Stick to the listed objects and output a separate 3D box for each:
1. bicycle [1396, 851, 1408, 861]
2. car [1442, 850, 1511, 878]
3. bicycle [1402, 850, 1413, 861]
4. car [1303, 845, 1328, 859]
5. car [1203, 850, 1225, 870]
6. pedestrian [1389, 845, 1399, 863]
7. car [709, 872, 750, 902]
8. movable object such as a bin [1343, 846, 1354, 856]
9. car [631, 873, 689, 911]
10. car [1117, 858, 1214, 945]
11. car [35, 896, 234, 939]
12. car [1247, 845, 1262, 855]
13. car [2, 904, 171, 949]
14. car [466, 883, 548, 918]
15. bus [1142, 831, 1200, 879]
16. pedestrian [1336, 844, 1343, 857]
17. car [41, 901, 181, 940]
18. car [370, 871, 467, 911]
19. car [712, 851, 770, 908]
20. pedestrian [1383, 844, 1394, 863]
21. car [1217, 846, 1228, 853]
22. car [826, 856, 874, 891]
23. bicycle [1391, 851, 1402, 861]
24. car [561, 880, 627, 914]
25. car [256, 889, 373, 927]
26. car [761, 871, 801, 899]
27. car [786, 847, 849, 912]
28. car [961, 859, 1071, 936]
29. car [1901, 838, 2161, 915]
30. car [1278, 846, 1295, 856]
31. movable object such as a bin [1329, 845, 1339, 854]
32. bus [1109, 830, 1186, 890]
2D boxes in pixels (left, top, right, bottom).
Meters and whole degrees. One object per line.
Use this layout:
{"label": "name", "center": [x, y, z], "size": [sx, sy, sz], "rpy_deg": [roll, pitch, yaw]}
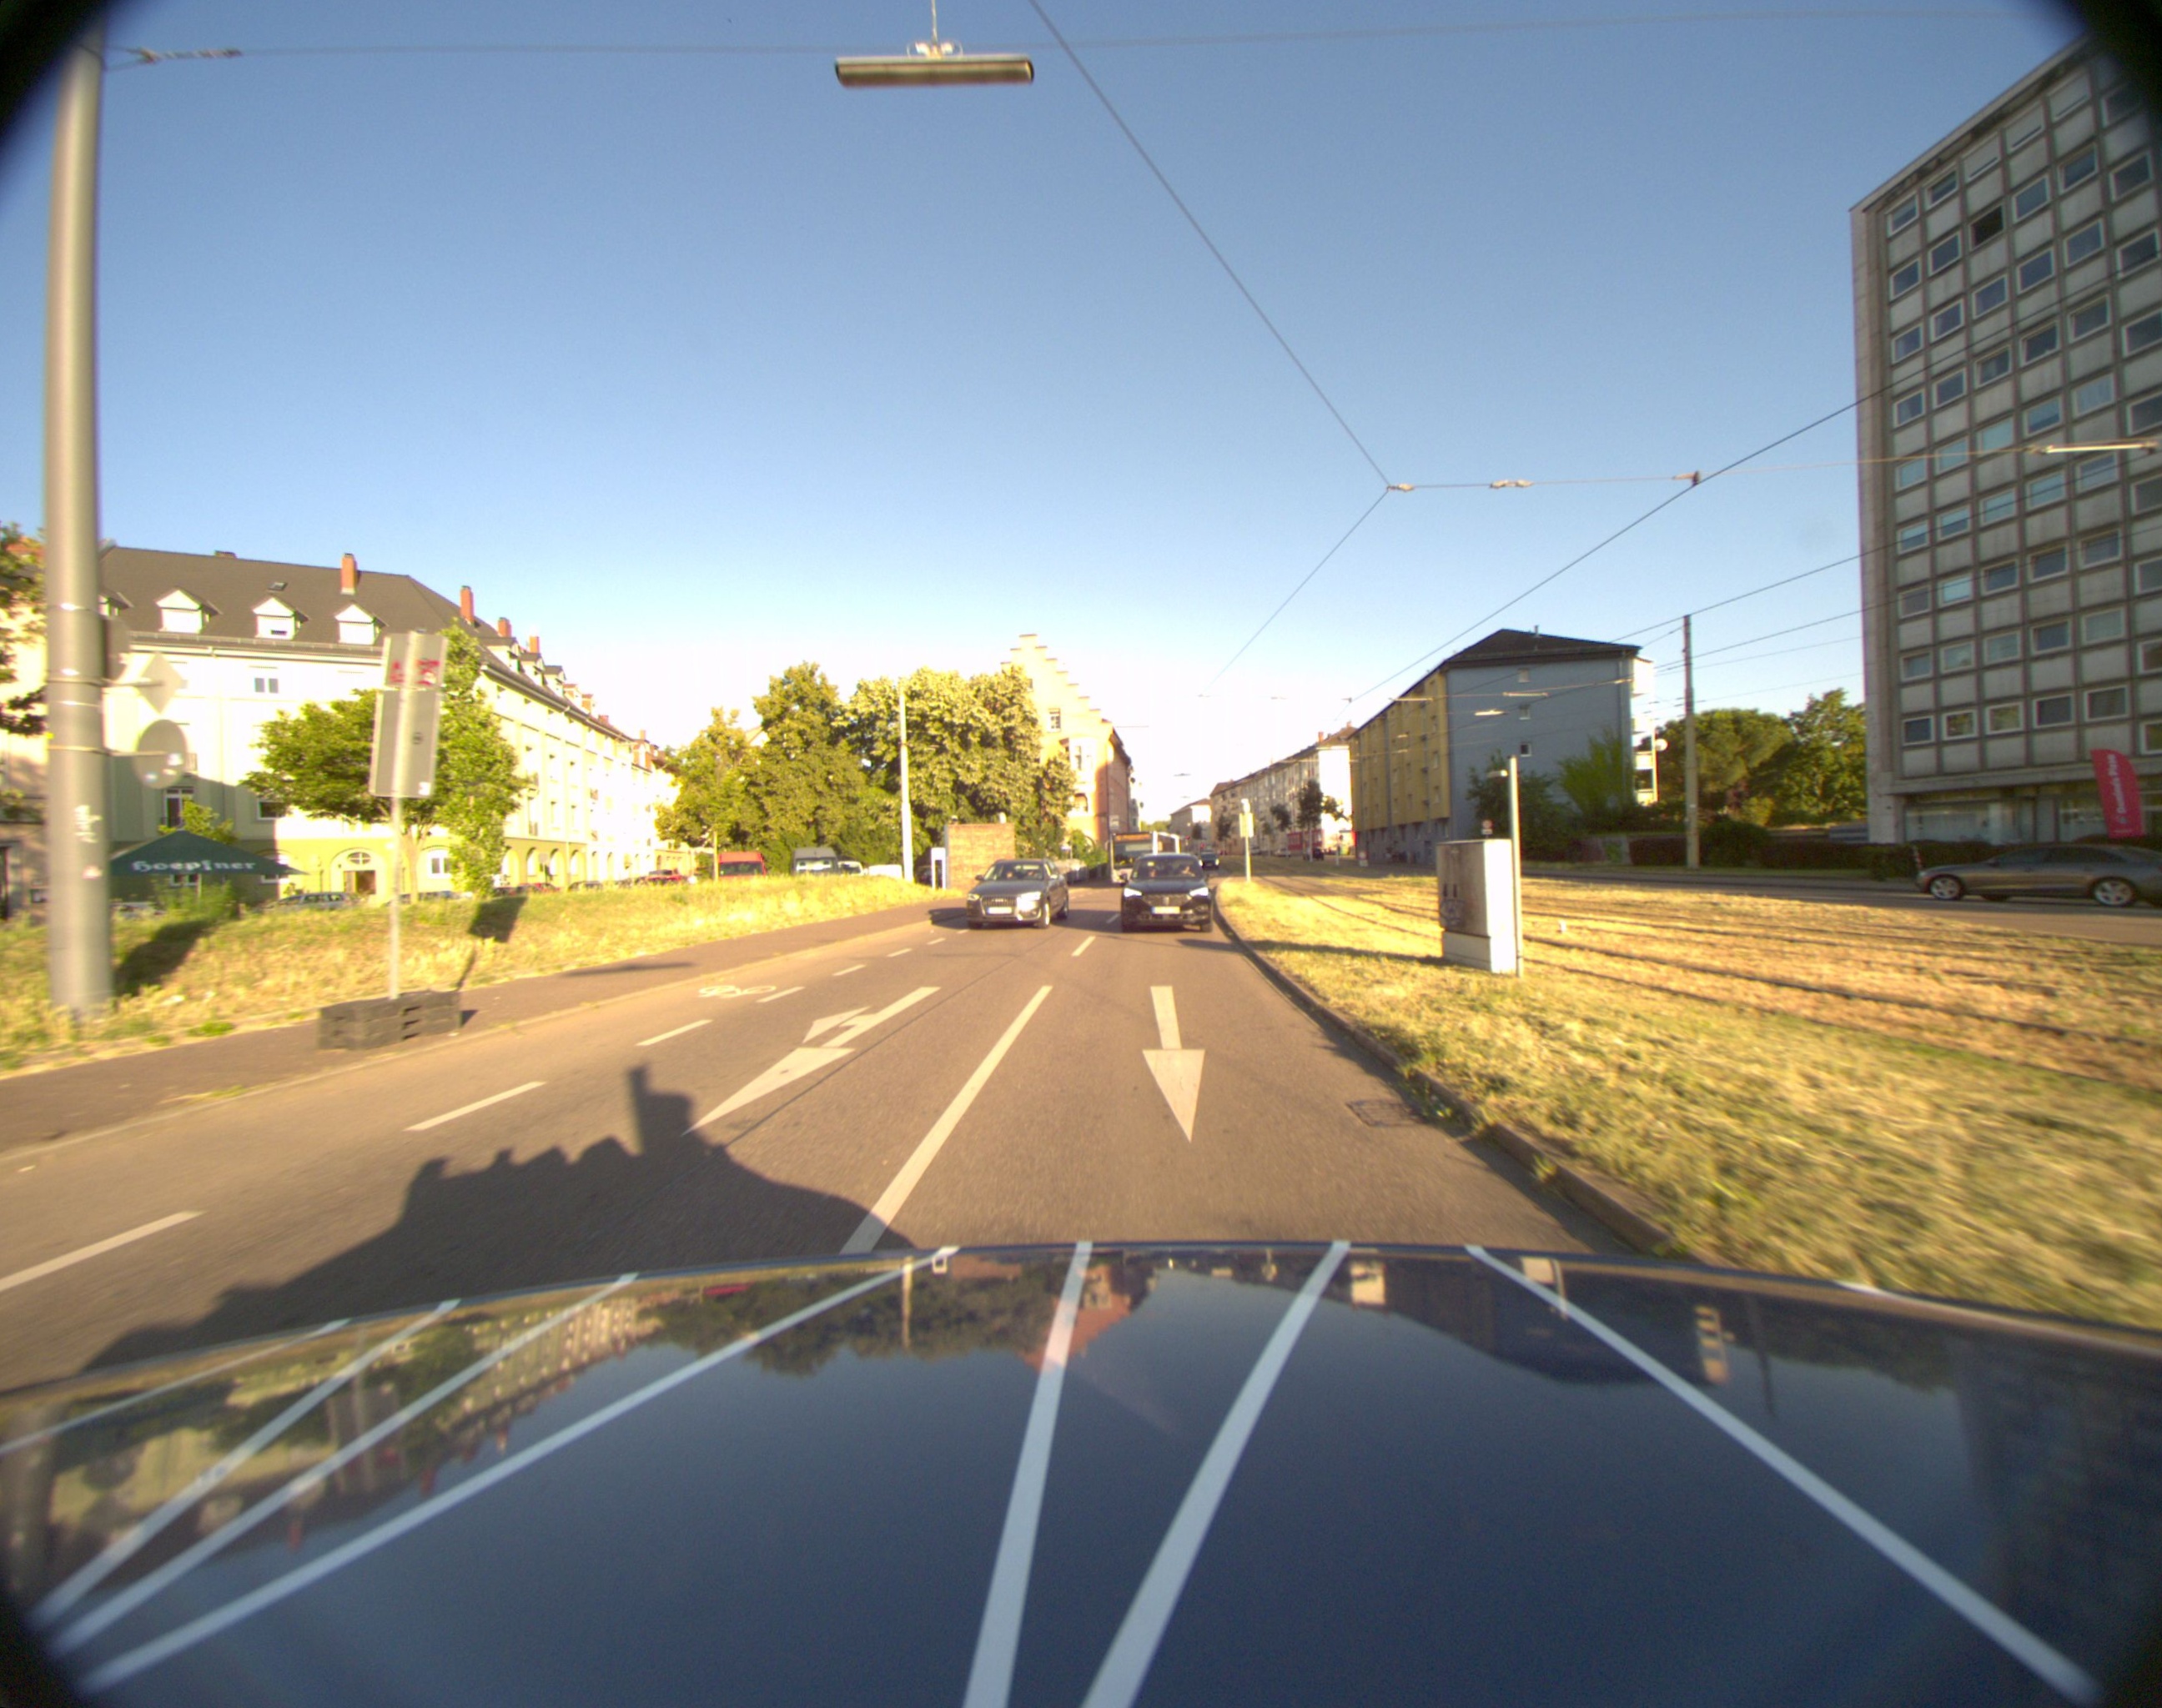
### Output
{"label": "bicycle", "center": [30.435, 0.198, 72.049], "size": [0.428, 0.920, 1.913], "rpy_deg": [-5, 0, 8]}
{"label": "car", "center": [22.335, 0.543, 43.114], "size": [1.780, 1.473, 4.400], "rpy_deg": [-1, 0, 2]}
{"label": "bicycle", "center": [30.127, 0.163, 70.134], "size": [0.428, 0.954, 1.913], "rpy_deg": [-2, 1, 8]}
{"label": "car", "center": [28.727, -0.269, 93.239], "size": [1.922, 1.652, 4.711], "rpy_deg": [-1, 0, 6]}
{"label": "car", "center": [12.685, 0.558, 72.749], "size": [1.997, 1.761, 4.003], "rpy_deg": [-1, 0, 9]}
{"label": "pedestrian", "center": [29.867, 0.009, 72.509], "size": [0.617, 1.684, 0.706], "rpy_deg": [-6, 0, 7]}
{"label": "car", "center": [-20.190, 1.854, 43.563], "size": [1.929, 1.531, 3.899], "rpy_deg": [-2, 0, -27]}
{"label": "movable object such as a bin", "center": [38.795, -0.432, 110.352], "size": [1.219, 1.407, 1.108], "rpy_deg": [-2, 1, 3]}
{"label": "car", "center": [-17.442, 1.539, 31.619], "size": [1.781, 1.365, 3.882], "rpy_deg": [-2, 0, -25]}
{"label": "car", "center": [1.970, 0.929, 16.698], "size": [1.786, 1.615, 4.220], "rpy_deg": [-1, 0, 11]}
{"label": "car", "center": [-29.432, 1.960, 23.777], "size": [3.545, 1.039, 1.519], "rpy_deg": [-1, 0, -26]}
{"label": "car", "center": [34.075, -0.764, 149.239], "size": [1.871, 1.818, 4.421], "rpy_deg": [-1, 0, -1]}
{"label": "car", "center": [-38.421, 2.758, 29.476], "size": [3.640, 1.377, 1.554], "rpy_deg": [-2, 1, -22]}
{"label": "car", "center": [-21.745, 1.733, 28.908], "size": [1.708, 1.083, 3.699], "rpy_deg": [-2, 0, -25]}
{"label": "bus", "center": [6.677, -0.049, 54.815], "size": [2.709, 3.060, 10.609], "rpy_deg": [-1, 1, 14]}
{"label": "pedestrian", "center": [35.372, -0.493, 103.869], "size": [0.615, 1.679, 0.791], "rpy_deg": [-2, 0, 2]}
{"label": "car", "center": [-43.183, 2.931, 33.918], "size": [3.634, 1.411, 1.313], "rpy_deg": [-2, 1, -22]}
{"label": "car", "center": [-24.214, 1.312, 27.922], "size": [1.708, 1.251, 3.699], "rpy_deg": [-1, 0, -25]}
{"label": "car", "center": [-14.690, 1.041, 32.779], "size": [2.046, 2.201, 5.404], "rpy_deg": [-2, 0, -25]}
{"label": "pedestrian", "center": [29.098, -0.079, 71.878], "size": [0.594, 1.763, 0.886], "rpy_deg": [-6, 0, 7]}
{"label": "car", "center": [31.352, -1.060, 168.444], "size": [1.797, 1.460, 4.796], "rpy_deg": [0, 1, 4]}
{"label": "car", "center": [-14.078, 1.171, 46.115], "size": [1.929, 1.967, 4.739], "rpy_deg": [-2, 0, -27]}
{"label": "bicycle", "center": [30.465, 0.205, 73.329], "size": [0.428, 0.920, 1.913], "rpy_deg": [-5, 0, 8]}
{"label": "car", "center": [-19.537, 1.694, 30.602], "size": [1.708, 1.154, 3.699], "rpy_deg": [-2, 0, -25]}
{"label": "car", "center": [-37.173, 2.603, 36.967], "size": [3.647, 1.521, 1.529], "rpy_deg": [-2, 0, -22]}
{"label": "car", "center": [-17.582, 1.791, 44.465], "size": [1.753, 1.458, 4.216], "rpy_deg": [-3, 0, -27]}
{"label": "car", "center": [-12.135, 1.074, 34.652], "size": [2.046, 2.650, 6.203], "rpy_deg": [-2, 0, -25]}
{"label": "car", "center": [-1.415, 0.948, 18.193], "size": [1.770, 1.578, 4.070], "rpy_deg": [-2, 0, 7]}
{"label": "car", "center": [23.185, 0.464, 18.223], "size": [1.657, 1.587, 4.581], "rpy_deg": [-2, 1, -11]}
{"label": "car", "center": [30.507, -0.431, 113.010], "size": [1.701, 1.451, 4.317], "rpy_deg": [0, 1, 5]}
{"label": "movable object such as a bin", "center": [37.226, -0.647, 111.695], "size": [1.161, 1.279, 0.806], "rpy_deg": [-2, 1, 3]}
{"label": "bus", "center": [4.130, 0.210, 44.471], "size": [2.728, 3.060, 10.609], "rpy_deg": [-1, 1, 14]}
